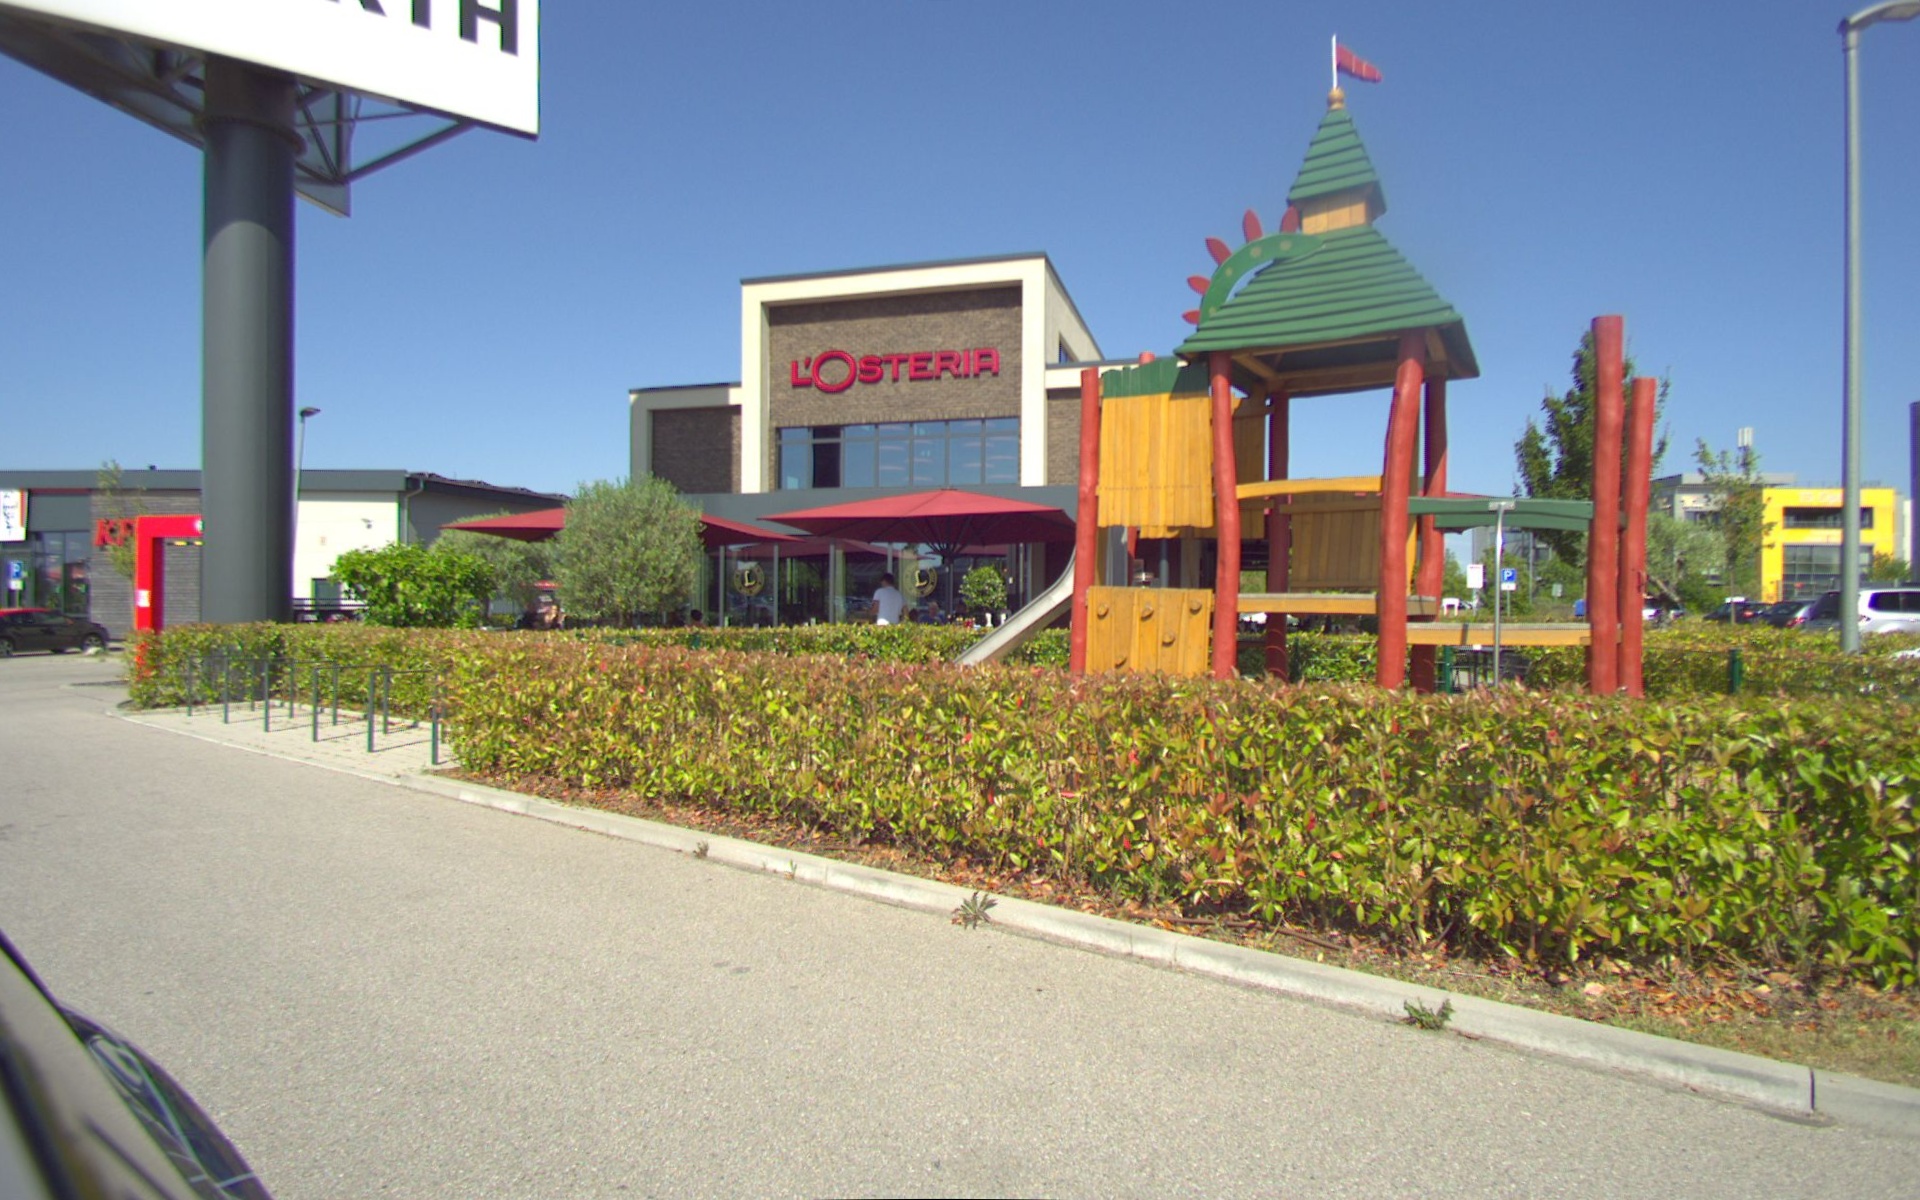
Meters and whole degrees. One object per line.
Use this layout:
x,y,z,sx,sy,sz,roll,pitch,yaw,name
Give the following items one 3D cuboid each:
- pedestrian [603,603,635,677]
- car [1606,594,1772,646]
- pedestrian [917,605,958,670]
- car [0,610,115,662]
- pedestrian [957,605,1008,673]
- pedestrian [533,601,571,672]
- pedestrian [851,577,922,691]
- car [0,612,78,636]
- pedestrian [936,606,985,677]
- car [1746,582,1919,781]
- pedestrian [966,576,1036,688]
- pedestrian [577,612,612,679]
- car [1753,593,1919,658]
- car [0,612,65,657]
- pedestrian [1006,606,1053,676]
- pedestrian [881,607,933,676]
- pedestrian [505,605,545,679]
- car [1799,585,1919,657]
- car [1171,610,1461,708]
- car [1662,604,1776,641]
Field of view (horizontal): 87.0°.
-6.510,0.750,19.344,0.474,1.377,0.652,-1,-1,-9,pedestrian
23.335,0.653,32.515,3.905,1.579,1.732,-1,-1,8,car
-0.425,0.701,19.196,0.660,1.207,0.708,-1,-1,9,pedestrian
-29.331,1.100,31.904,1.724,1.518,3.889,-1,0,15,car
0.417,0.708,18.663,0.699,1.207,0.617,0,-1,-44,pedestrian
-8.846,0.785,21.969,0.563,1.516,0.523,-1,-1,14,pedestrian
-1.129,0.520,15.627,0.761,1.700,0.777,-1,-1,34,pedestrian
-61.894,1.582,67.815,3.932,1.564,1.760,0,-1,-31,car
0.011,0.716,17.731,0.613,1.207,0.704,-1,-1,24,pedestrian
9.605,0.610,8.455,4.328,1.542,1.948,-1,-1,10,car
0.624,0.475,15.323,0.761,1.627,0.777,-1,-1,34,pedestrian
-6.690,0.823,18.538,0.474,1.194,0.652,-1,-1,-9,pedestrian
22.819,0.643,25.825,3.643,1.579,1.640,-1,-1,10,car
-31.956,1.141,32.701,1.723,1.423,4.383,-1,0,13,car
1.132,0.650,16.361,0.543,1.098,0.572,-1,-1,32,pedestrian
-0.952,0.737,18.194,0.698,1.207,0.618,0,-1,-38,pedestrian
-9.101,0.873,21.189,0.563,1.516,0.523,-1,-1,14,pedestrian
22.133,0.460,23.327,3.905,1.579,1.732,-1,-1,8,car
5.154,0.814,14.960,3.811,1.318,1.637,-1,-1,19,car
33.748,1.004,45.065,3.643,1.579,1.640,-1,-1,10,car
